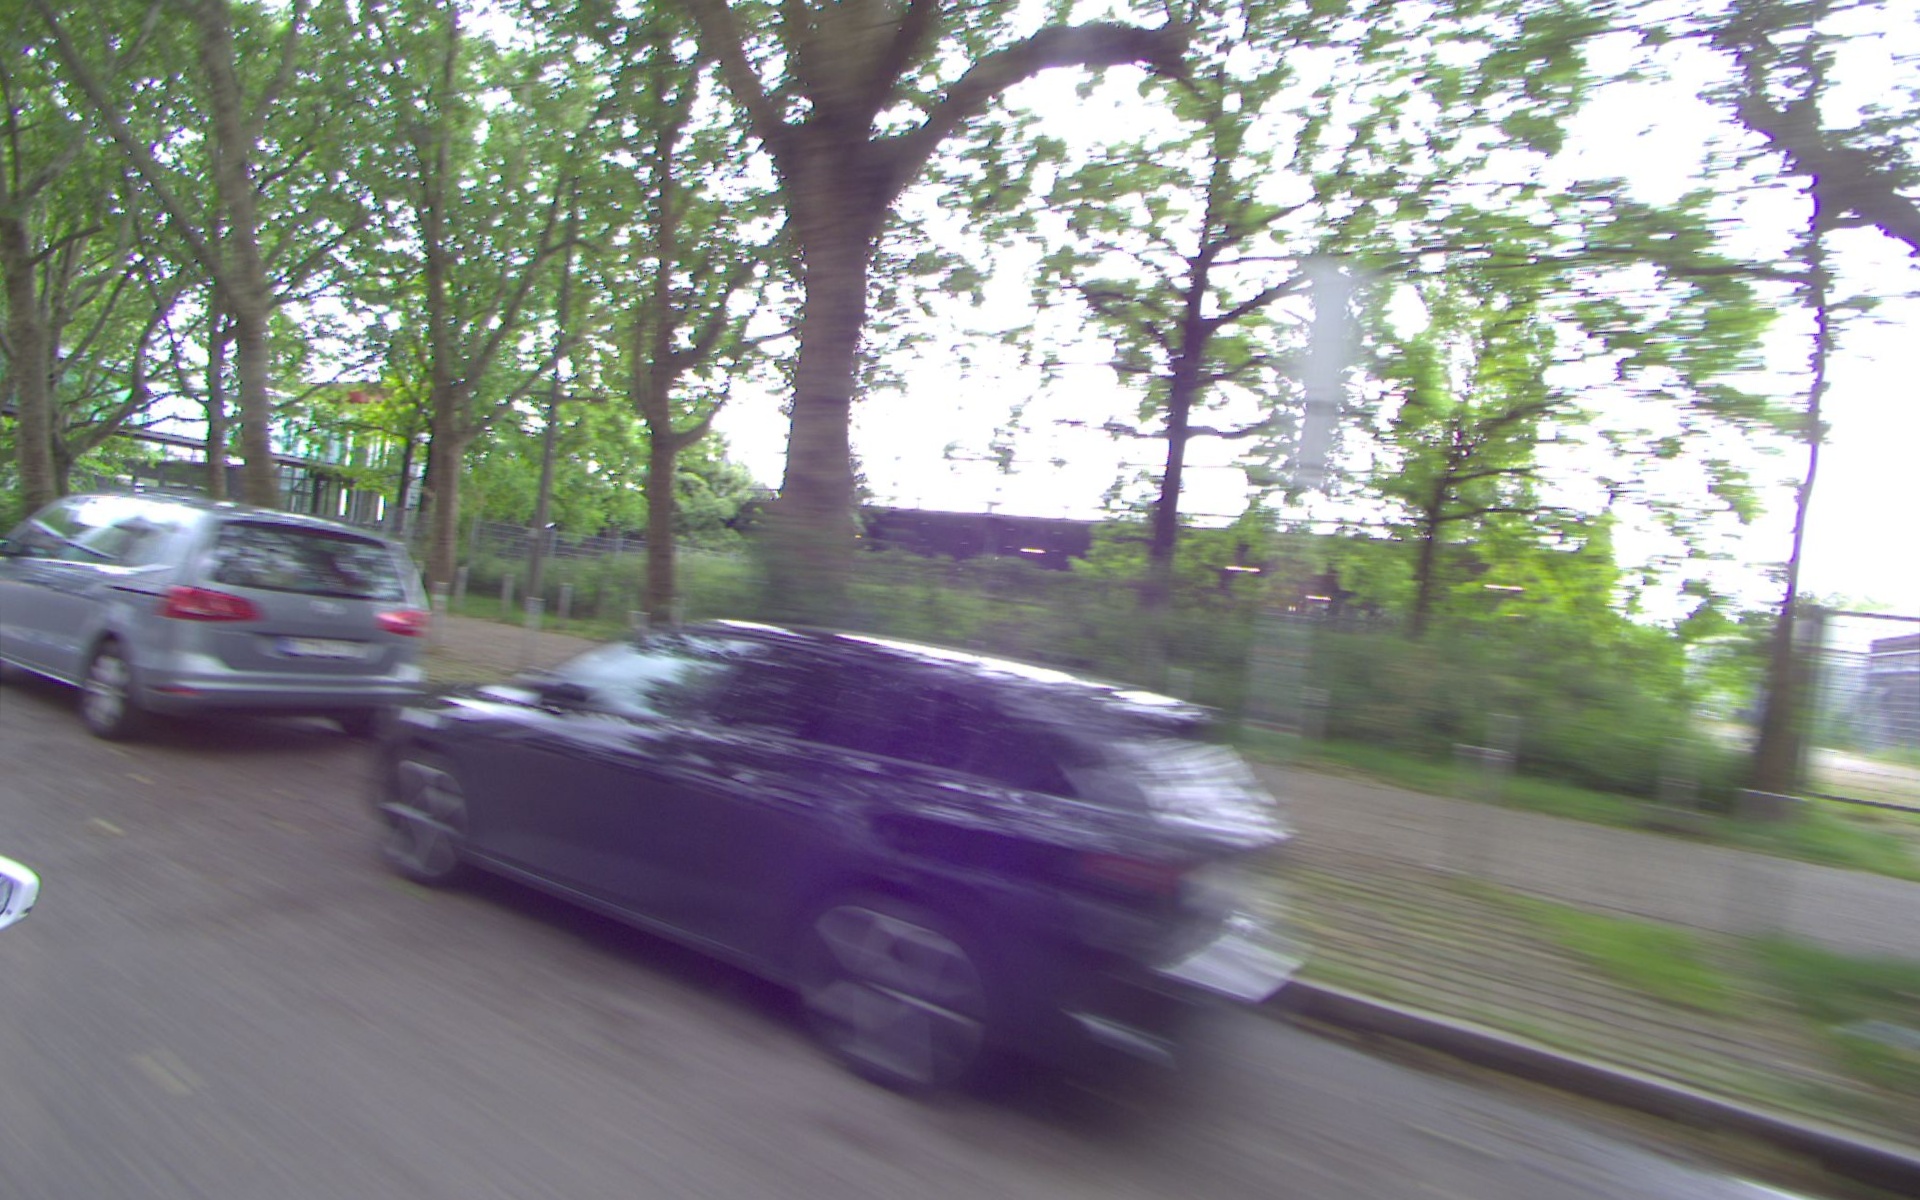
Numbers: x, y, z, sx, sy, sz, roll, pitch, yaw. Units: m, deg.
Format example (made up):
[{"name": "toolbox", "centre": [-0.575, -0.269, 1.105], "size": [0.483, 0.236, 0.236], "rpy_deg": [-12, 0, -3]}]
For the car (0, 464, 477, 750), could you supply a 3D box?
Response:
[{"name": "car", "centre": [-6.395, -0.059, 8.283], "size": [4.652, 1.701, 1.985], "rpy_deg": [6, 0, 30]}]

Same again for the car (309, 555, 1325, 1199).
[{"name": "car", "centre": [-0.855, 0.787, 4.691], "size": [4.405, 1.445, 1.879], "rpy_deg": [7, 0, 32]}]
